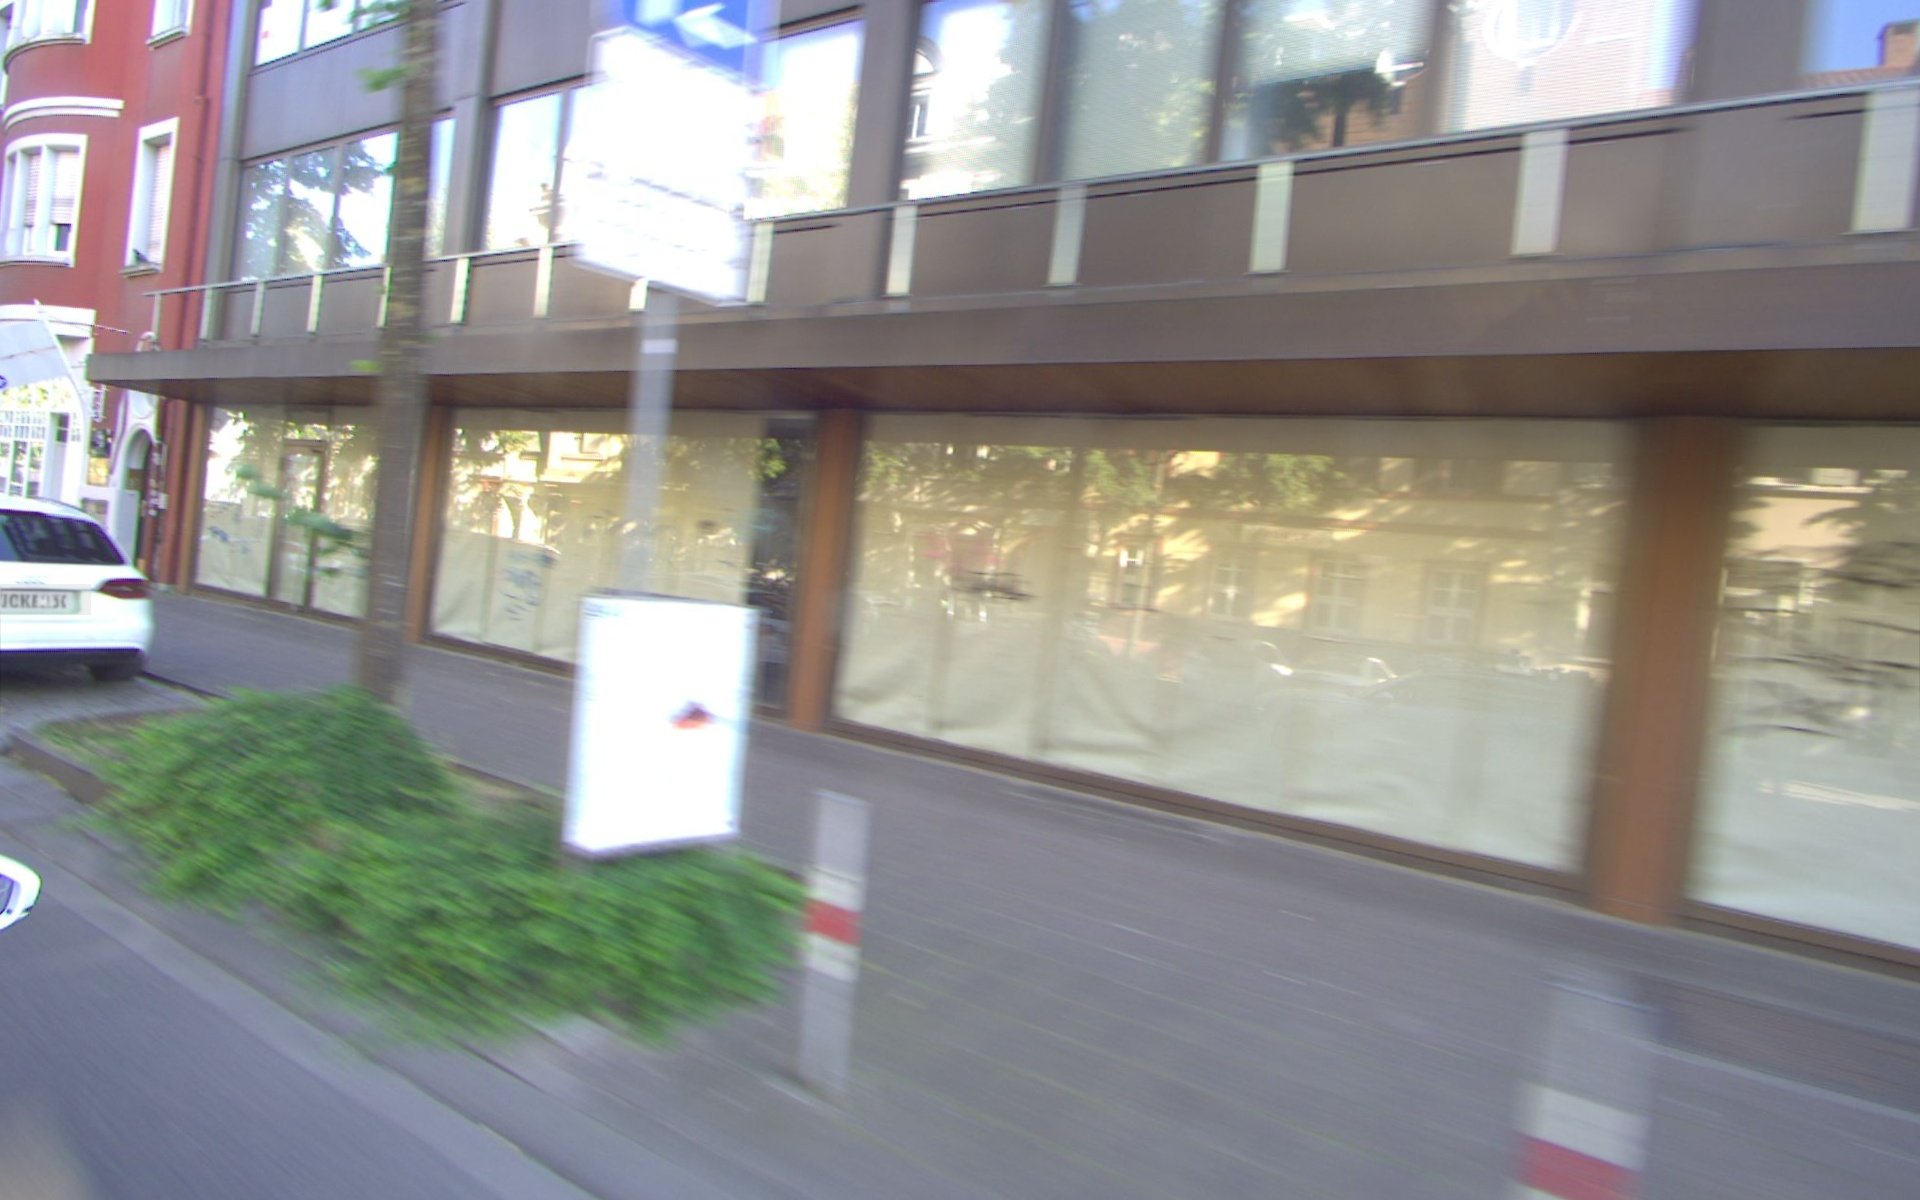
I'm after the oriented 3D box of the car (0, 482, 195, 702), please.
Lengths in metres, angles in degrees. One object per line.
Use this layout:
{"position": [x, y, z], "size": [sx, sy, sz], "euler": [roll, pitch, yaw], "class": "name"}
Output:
{"position": [-8.368, -0.265, 8.177], "size": [4.761, 1.422, 1.822], "euler": [7, 3, 32], "class": "car"}
